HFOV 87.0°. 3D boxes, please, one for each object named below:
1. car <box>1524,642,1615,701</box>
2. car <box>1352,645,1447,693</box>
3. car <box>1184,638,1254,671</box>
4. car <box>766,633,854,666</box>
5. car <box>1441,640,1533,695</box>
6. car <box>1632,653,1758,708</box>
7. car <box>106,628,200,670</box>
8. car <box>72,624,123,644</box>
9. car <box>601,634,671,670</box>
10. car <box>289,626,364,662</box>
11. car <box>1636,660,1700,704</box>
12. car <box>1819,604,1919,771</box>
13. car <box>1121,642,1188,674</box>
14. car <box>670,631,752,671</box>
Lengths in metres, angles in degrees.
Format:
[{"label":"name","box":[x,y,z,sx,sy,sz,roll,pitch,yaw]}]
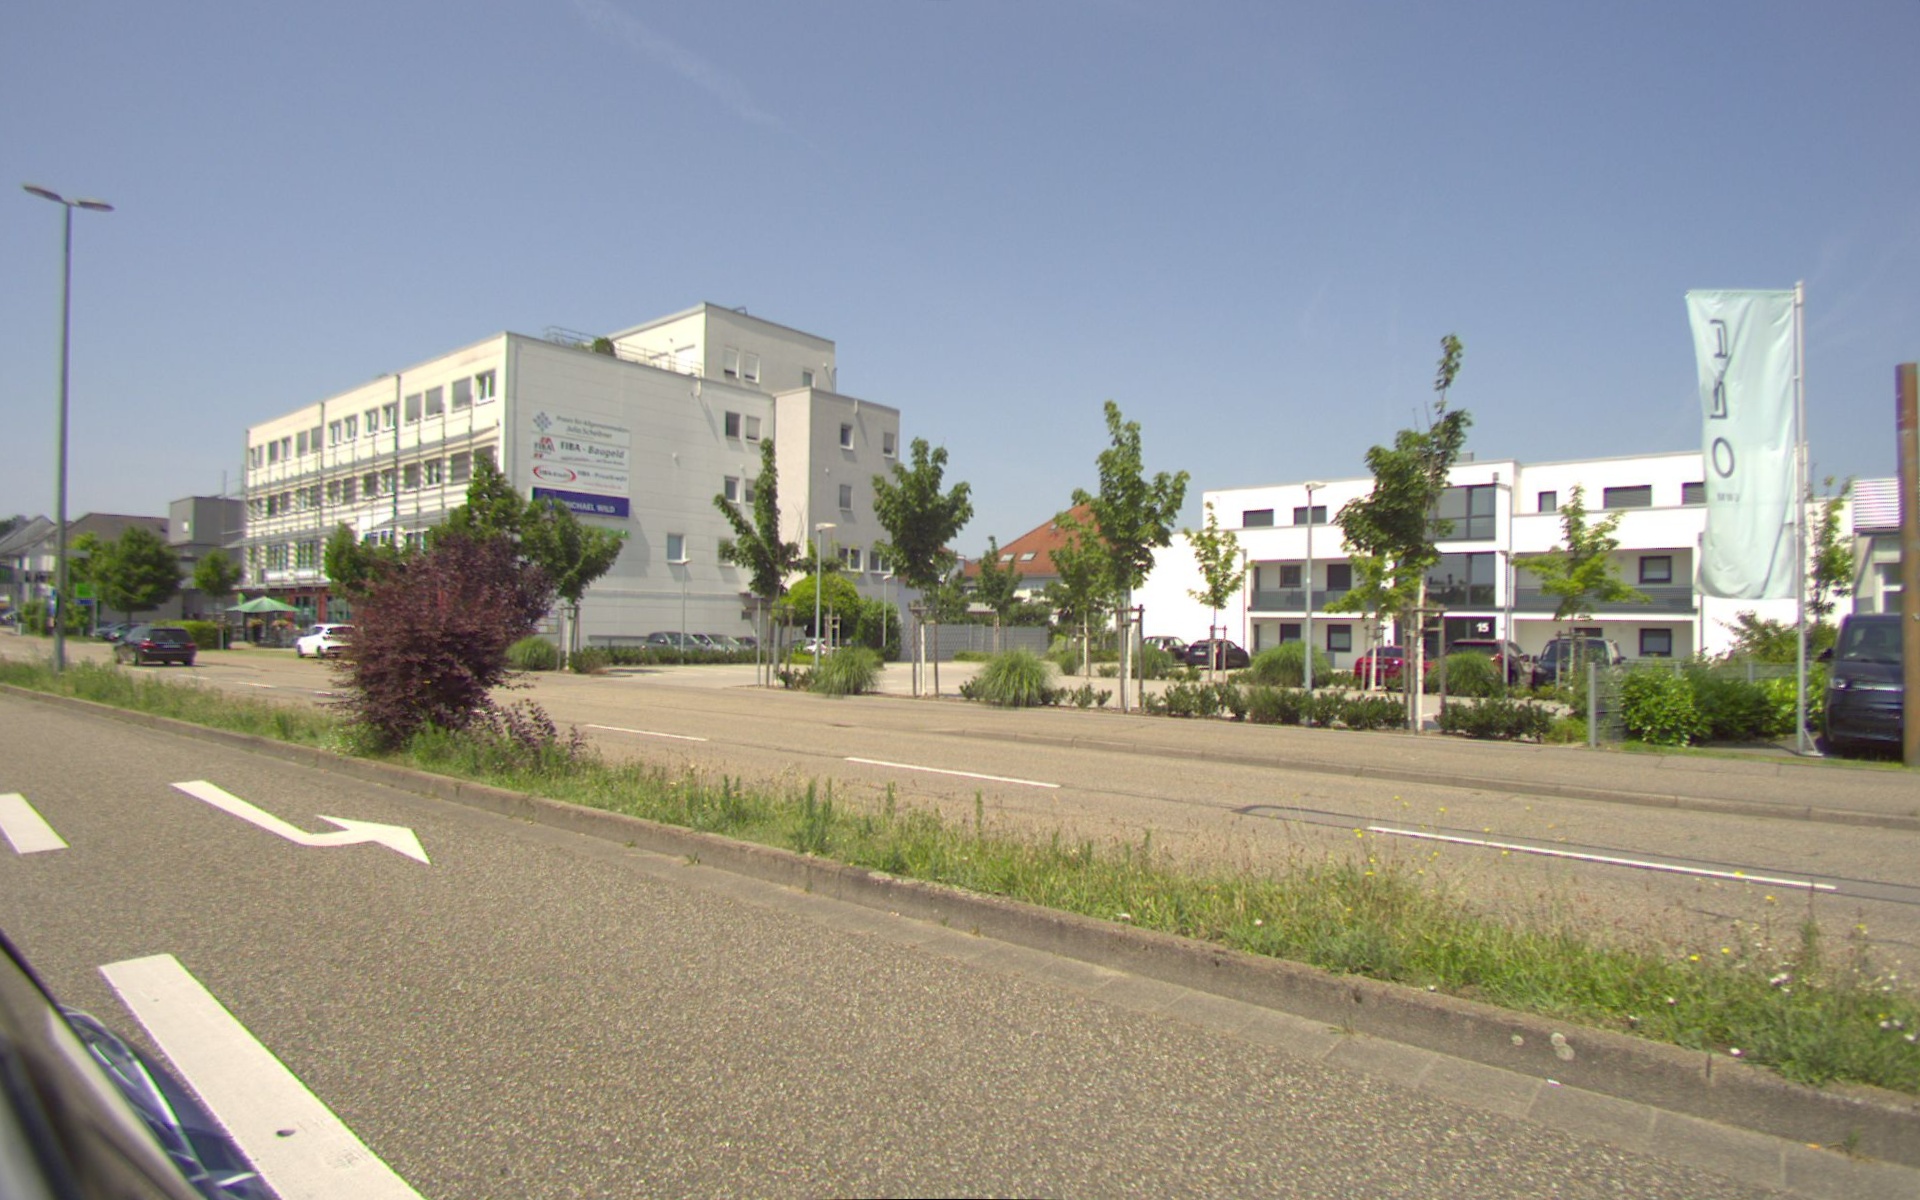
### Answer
[{"label":"car","box":[16.934,1.915,28.043,1.875,1.464,3.952,-1,-2,35]},{"label":"car","box":[13.512,2.068,31.013,1.844,1.324,3.951,-1,-2,36]},{"label":"car","box":[12.098,2.515,47.149,1.875,1.464,3.952,-1,-2,35]},{"label":"car","box":[-6.767,2.204,45.462,3.833,1.394,1.899,-1,-3,43]},{"label":"car","box":[15.503,1.917,29.687,1.875,1.464,3.952,-1,-2,35]},{"label":"car","box":[18.467,1.973,25.389,3.484,1.233,1.730,2,-2,-40]},{"label":"car","box":[-31.032,1.857,38.859,4.707,1.472,1.810,-1,-3,39]},{"label":"car","box":[-64.484,2.528,75.663,1.445,1.423,2.702,-1,-3,40]},{"label":"car","box":[-12.851,2.054,40.104,2.832,1.350,1.437,-1,-3,42]},{"label":"car","box":[-27.902,1.907,44.549,3.661,1.460,1.675,-1,-1,39]},{"label":"car","box":[26.545,3.028,37.969,1.875,1.464,3.952,-1,-2,35]},{"label":"car","box":[12.346,1.057,12.856,1.997,1.896,3.948,-1,-2,38]},{"label":"car","box":[9.539,2.796,49.426,1.873,1.464,3.954,-1,-2,33]},{"label":"car","box":[-10.259,2.079,41.550,3.555,1.530,1.536,-1,-3,42]}]
